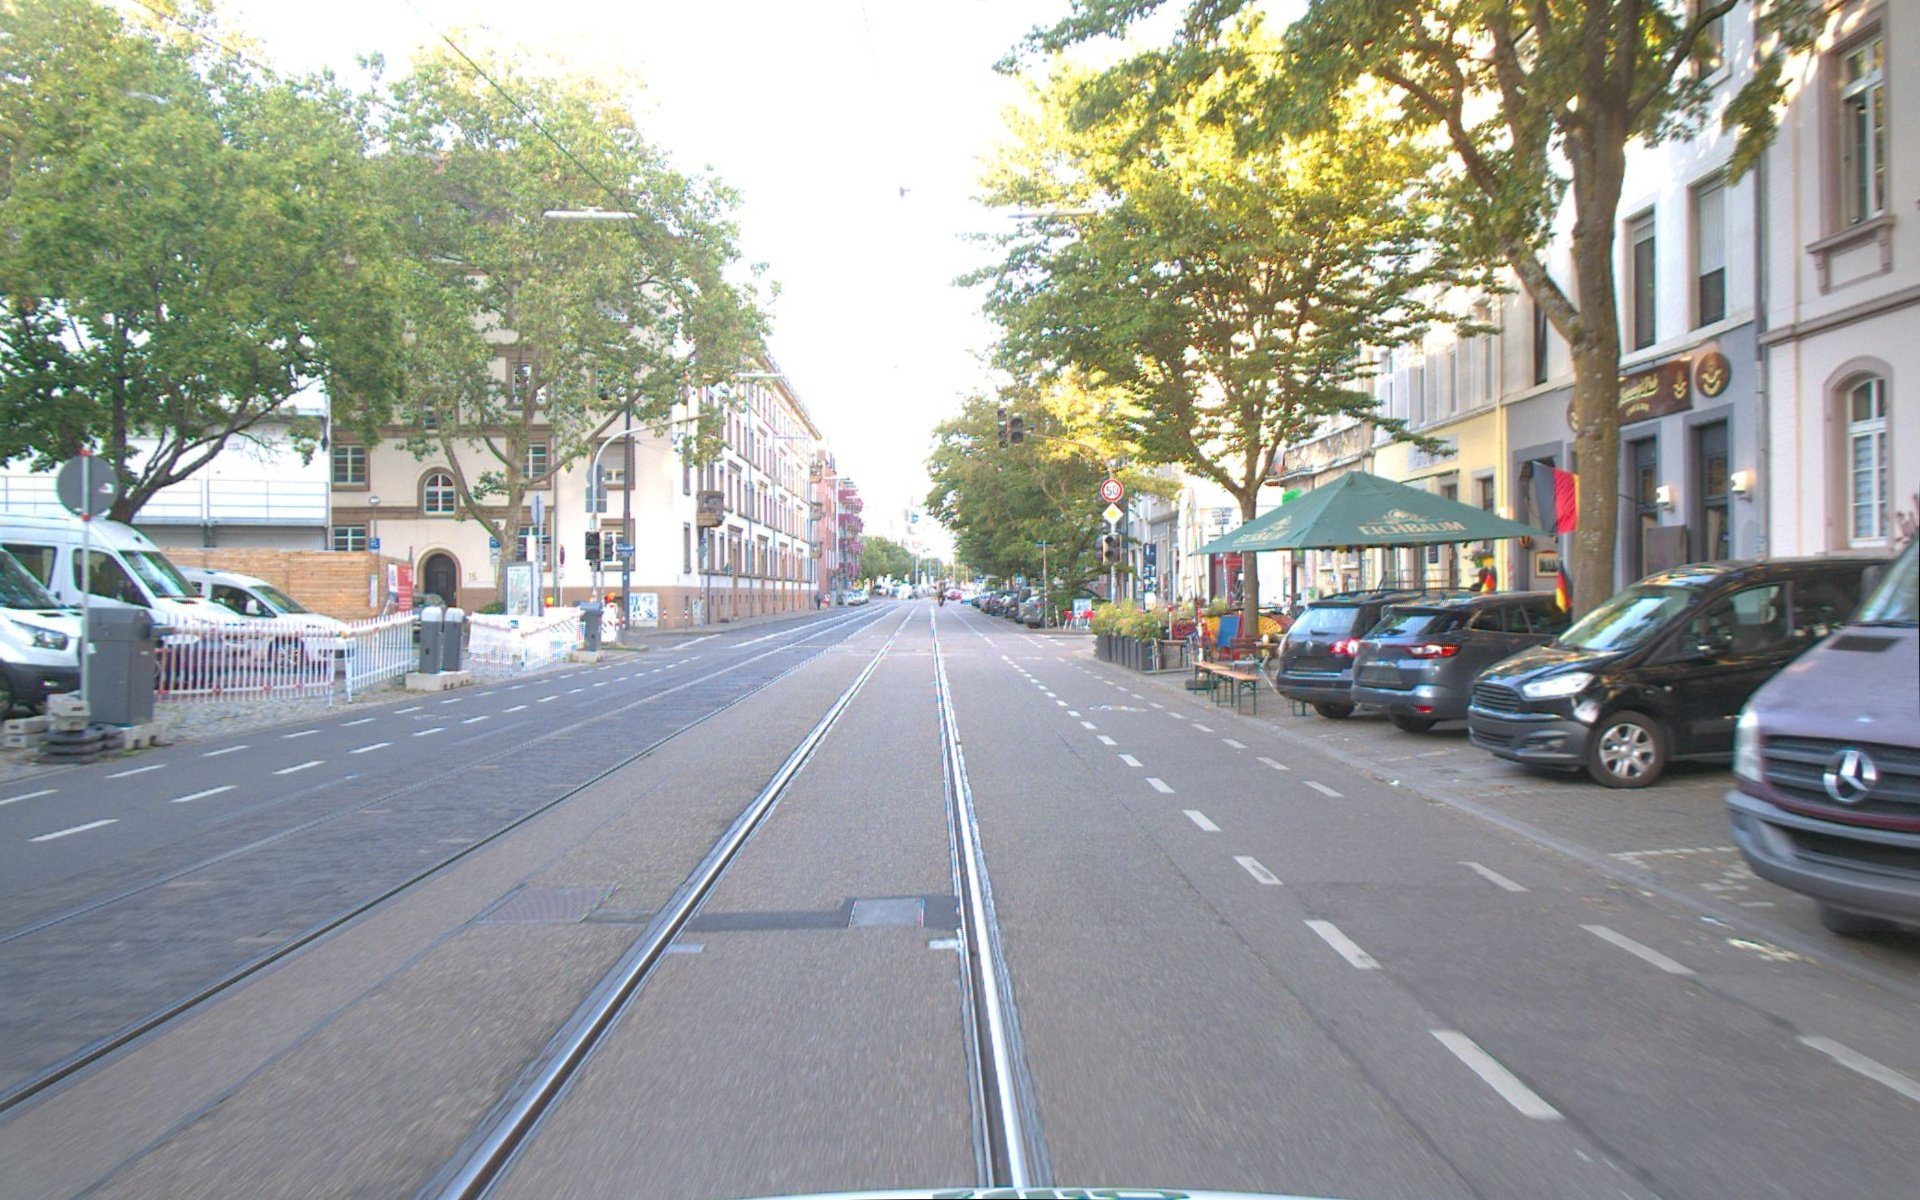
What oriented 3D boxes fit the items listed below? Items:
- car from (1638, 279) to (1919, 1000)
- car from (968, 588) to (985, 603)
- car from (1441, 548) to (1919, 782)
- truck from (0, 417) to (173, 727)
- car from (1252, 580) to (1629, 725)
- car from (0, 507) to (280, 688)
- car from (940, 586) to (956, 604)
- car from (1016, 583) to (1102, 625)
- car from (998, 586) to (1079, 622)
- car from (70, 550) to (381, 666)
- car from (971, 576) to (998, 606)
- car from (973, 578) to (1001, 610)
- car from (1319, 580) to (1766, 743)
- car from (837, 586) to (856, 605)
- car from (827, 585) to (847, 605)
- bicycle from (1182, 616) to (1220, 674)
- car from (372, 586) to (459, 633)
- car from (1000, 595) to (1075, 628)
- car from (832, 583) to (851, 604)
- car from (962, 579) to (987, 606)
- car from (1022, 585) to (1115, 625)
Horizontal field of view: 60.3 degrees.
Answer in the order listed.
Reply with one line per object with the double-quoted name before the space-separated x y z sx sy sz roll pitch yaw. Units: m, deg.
"car" 5.823 0.064 7.385 5.016 2.688 2.011 -2 0 -18
"car" 2.067 -0.576 205.906 1.923 1.748 3.999 0 0 -1
"car" 6.261 0.483 13.753 3.937 1.737 1.815 -1 0 -8
"truck" -13.673 -0.436 20.024 6.919 3.541 2.539 2 1 -5
"car" 5.829 0.579 20.066 4.123 1.524 1.992 -1 0 -26
"car" -13.771 -0.081 25.871 5.293 2.603 2.225 2 1 -4
"car" -1.435 -0.564 194.403 1.859 2.049 3.999 0 0 -1
"car" 4.453 0.176 74.735 3.808 1.880 1.861 0 0 0
"car" 3.753 0.183 79.521 3.808 1.690 1.861 0 0 0
"car" -13.991 0.128 31.718 4.921 1.979 2.228 2 1 3
"car" 1.708 -0.628 117.934 1.768 2.049 3.999 0 0 -1
"car" 1.720 -0.378 108.345 1.687 2.049 3.999 0 0 -1
"car" 6.145 0.593 17.581 4.109 1.488 1.999 -1 0 -17
"car" -12.665 -0.500 184.867 1.859 2.049 3.999 0 0 -1
"car" -12.991 -0.572 174.659 1.859 2.049 3.999 0 0 -1
"bicycle" 4.527 0.836 31.086 0.410 1.033 1.829 0 0 -1
"car" -20.034 0.329 61.019 1.873 1.668 4.117 0 0 -1
"car" 4.004 0.572 85.625 3.808 1.690 1.861 0 0 0
"car" -12.819 -0.717 179.308 1.859 2.216 3.999 0 0 -1
"car" 1.122 -0.584 130.844 1.859 2.049 3.999 0 0 -1
"car" 4.525 0.198 69.402 3.808 1.620 1.861 -1 0 0
